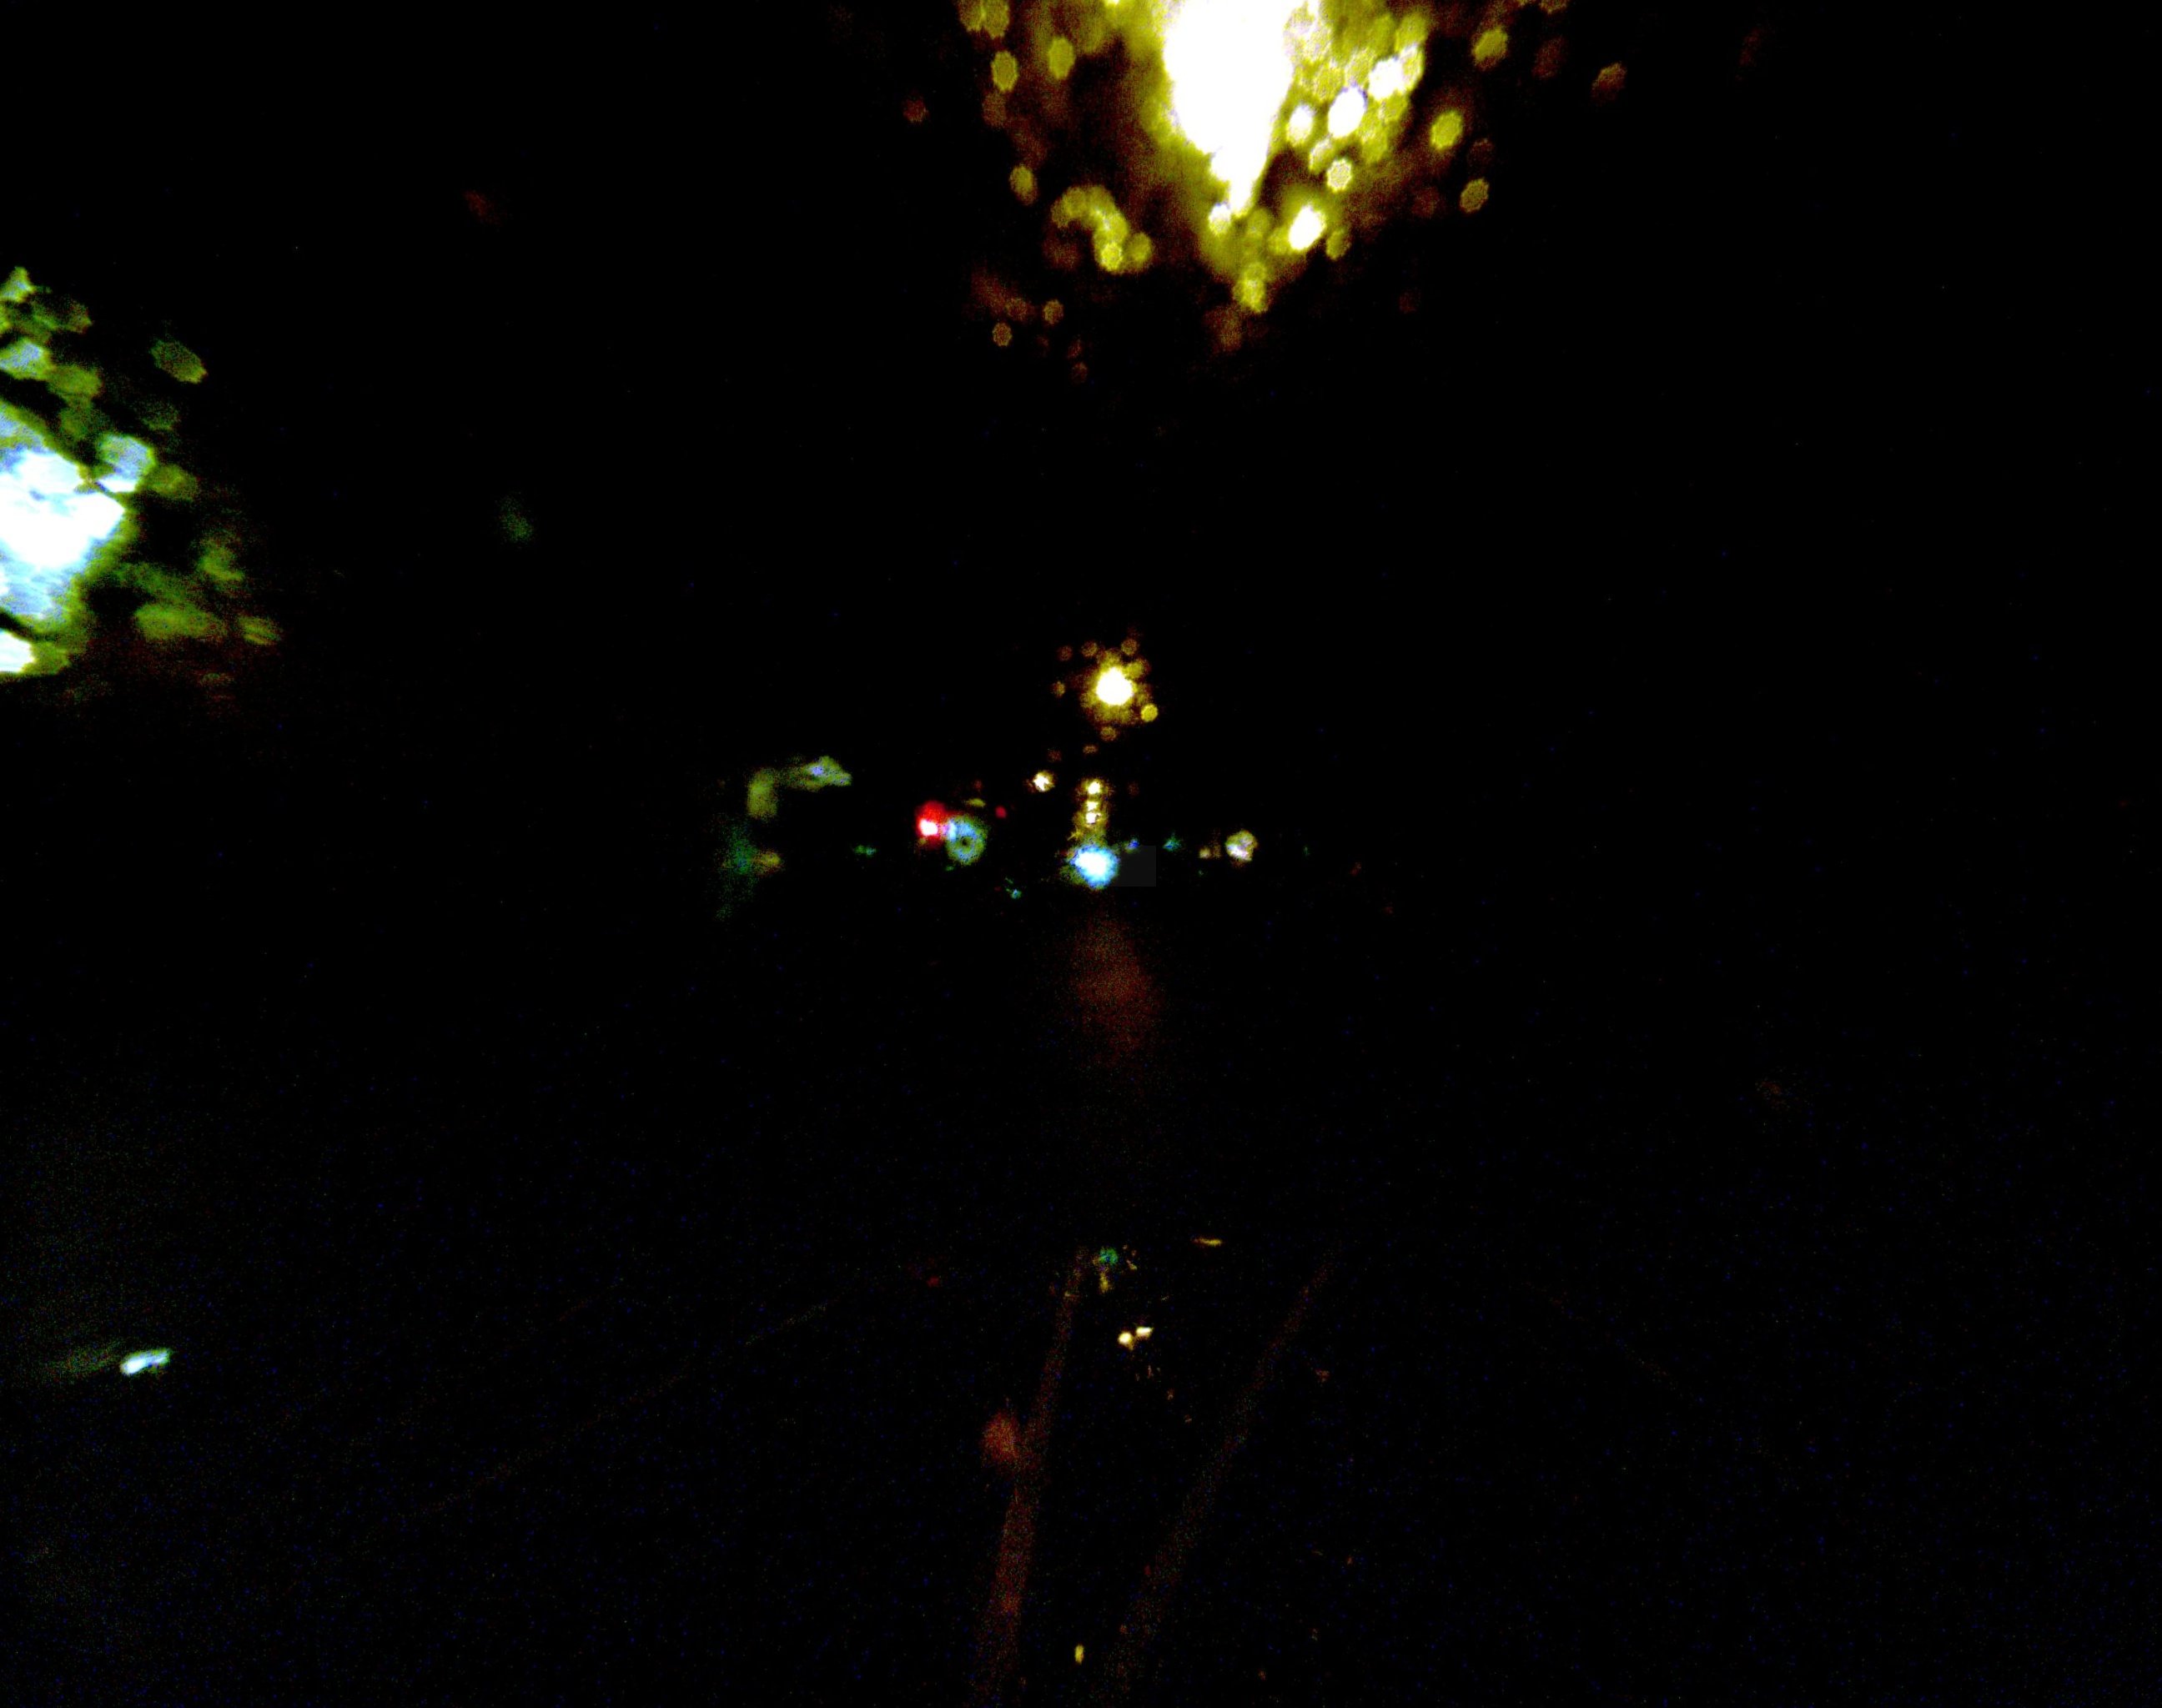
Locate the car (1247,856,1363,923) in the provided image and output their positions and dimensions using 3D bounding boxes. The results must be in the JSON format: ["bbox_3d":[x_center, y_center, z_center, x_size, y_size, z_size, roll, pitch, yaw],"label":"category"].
[{"bbox_3d":[5.541,0.813,19.334,1.731,1.445,4.273,-2,0,1],"label":"car"}]

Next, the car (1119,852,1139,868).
[{"bbox_3d":[4.763,0.609,74.887,1.877,1.386,4.075,-2,-1,4],"label":"car"}]

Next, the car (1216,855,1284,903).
[{"bbox_3d":[5.548,0.781,25.304,1.531,1.445,3.384,-2,0,1],"label":"car"}]

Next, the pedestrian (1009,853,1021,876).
[{"bbox_3d":[-5.703,0.904,65.862,0.776,1.890,0.777,-4,1,1],"label":"pedestrian"}]

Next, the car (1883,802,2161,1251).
[{"bbox_3d":[5.276,0.673,1.702,1.907,1.818,4.829,-2,0,1],"label":"car"}]

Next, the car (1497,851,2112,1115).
[{"bbox_3d":[5.426,0.790,6.490,1.731,1.565,3.720,-2,0,1],"label":"car"}]

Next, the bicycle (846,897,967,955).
[{"bbox_3d":[-3.128,1.249,13.481,2.267,0.889,0.619,-1,1,30],"label":"bicycle"}]

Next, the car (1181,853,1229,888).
[{"bbox_3d":[5.738,0.754,35.515,1.697,1.470,3.964,-2,-1,2],"label":"car"}]

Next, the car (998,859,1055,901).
[{"bbox_3d":[-2.072,0.983,30.111,1.846,1.498,4.162,-1,0,1],"label":"car"}]

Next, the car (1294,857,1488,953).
[{"bbox_3d":[5.343,0.784,13.826,1.731,1.384,4.555,-2,0,1],"label":"car"}]

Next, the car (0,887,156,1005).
[{"bbox_3d":[-16.519,1.404,10.916,3.996,1.499,2.000,-4,1,2],"label":"car"}]

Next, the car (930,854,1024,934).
[{"bbox_3d":[-2.415,0.867,18.518,1.676,1.712,3.856,-1,0,1],"label":"car"}]

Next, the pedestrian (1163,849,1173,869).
[{"bbox_3d":[8.705,0.507,75.977,0.776,2.002,0.587,-4,1,1],"label":"pedestrian"}]

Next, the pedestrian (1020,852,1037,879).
[{"bbox_3d":[-3.277,0.707,47.463,1.007,1.698,0.614,-1,1,1],"label":"pedestrian"}]

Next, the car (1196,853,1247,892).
[{"bbox_3d":[5.760,0.761,31.484,1.696,1.470,3.385,-2,-1,5],"label":"car"}]

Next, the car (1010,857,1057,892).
[{"bbox_3d":[-2.187,0.936,35.823,1.846,1.498,4.162,-1,0,1],"label":"car"}]

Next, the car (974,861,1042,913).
[{"bbox_3d":[-2.281,1.006,24.755,1.689,1.498,4.162,-1,0,1],"label":"car"}]

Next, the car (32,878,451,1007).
[{"bbox_3d":[-11.973,1.214,11.052,3.996,1.476,1.895,-3,0,2],"label":"car"}]

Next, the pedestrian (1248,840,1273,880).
[{"bbox_3d":[8.295,0.273,35.133,0.912,1.778,0.629,-4,1,2],"label":"pedestrian"}]
